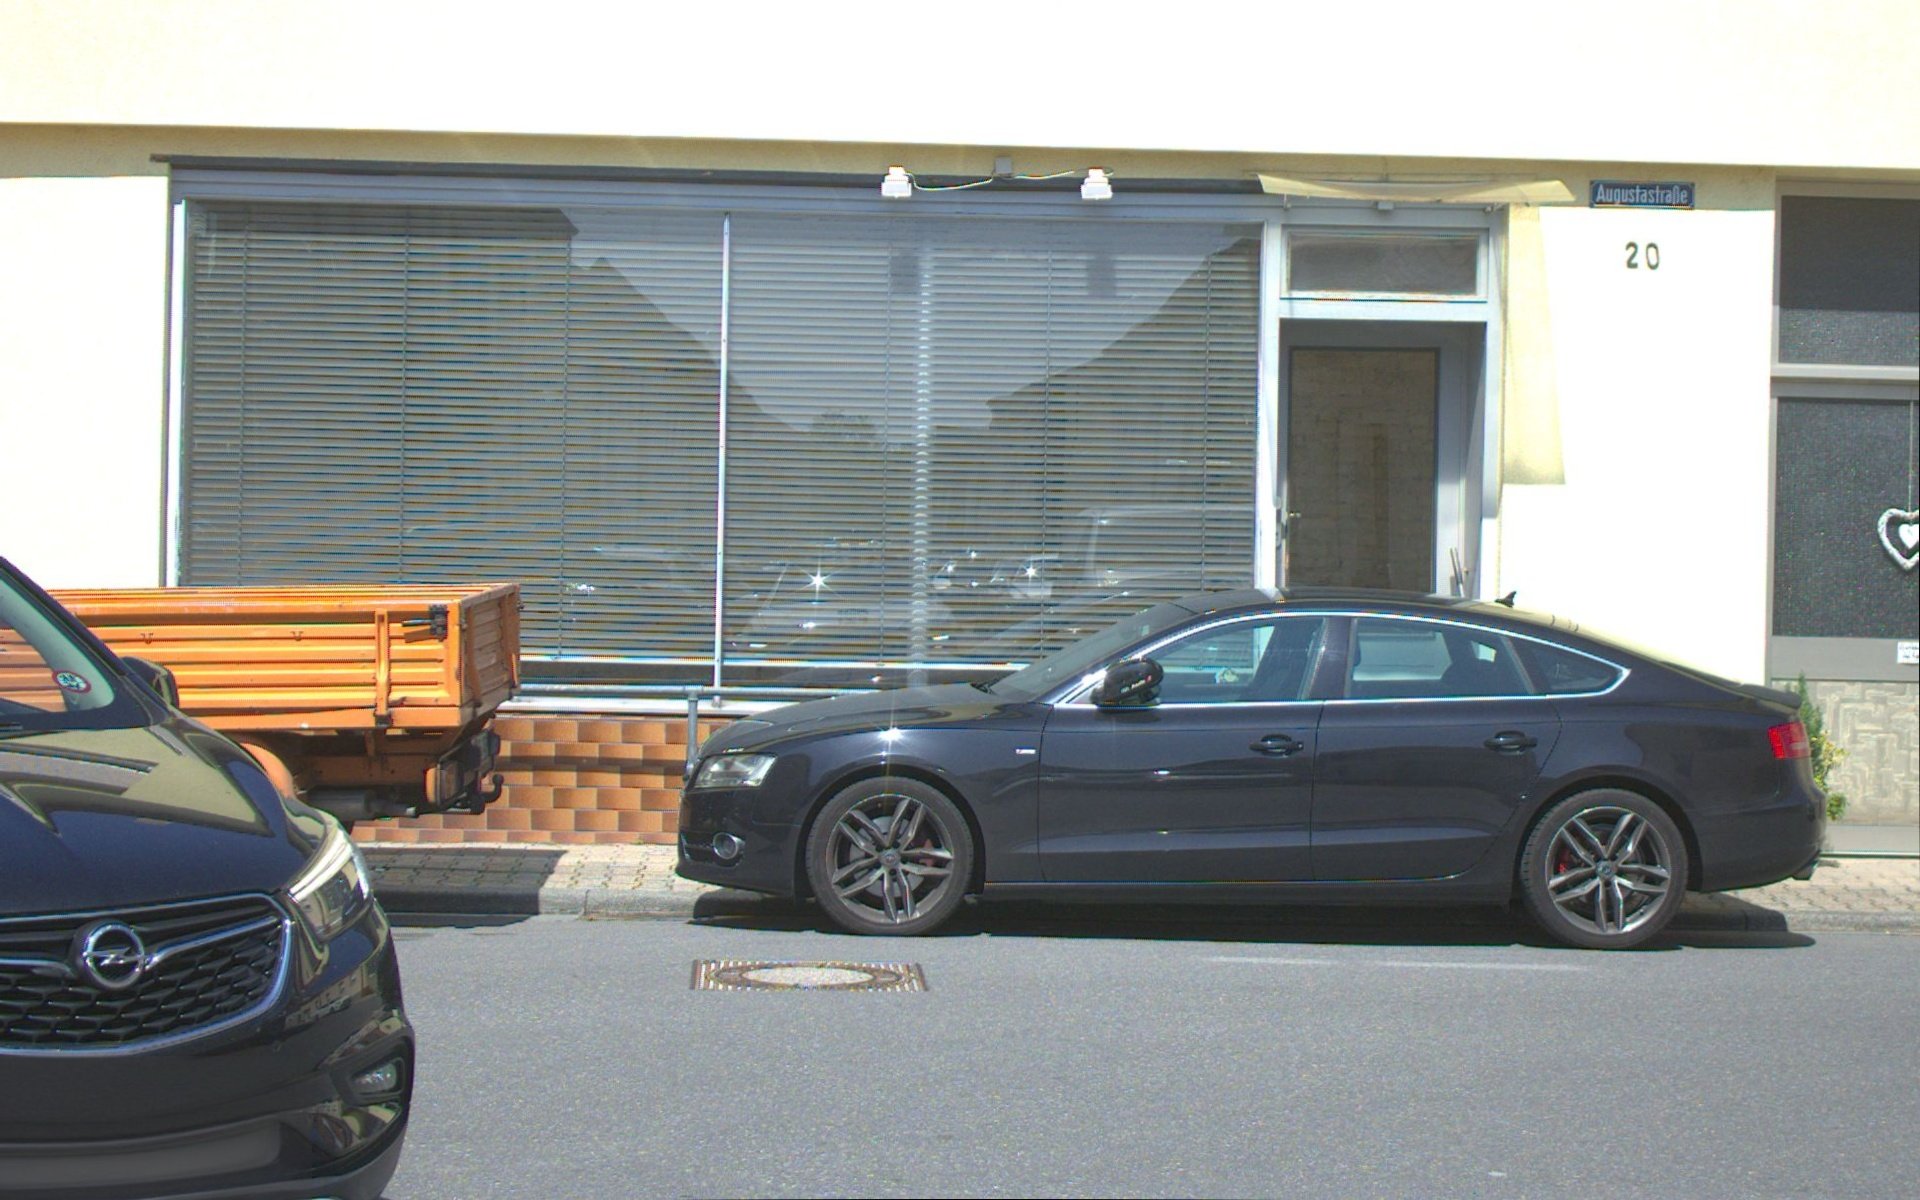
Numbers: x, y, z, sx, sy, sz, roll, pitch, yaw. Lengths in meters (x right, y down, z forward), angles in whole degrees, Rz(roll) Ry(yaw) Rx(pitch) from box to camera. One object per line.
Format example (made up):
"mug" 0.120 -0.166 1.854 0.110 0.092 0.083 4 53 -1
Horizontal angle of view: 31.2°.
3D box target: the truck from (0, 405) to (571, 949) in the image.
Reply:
"truck" -4.263 0.237 14.103 5.063 2.007 2.190 2 1 -1

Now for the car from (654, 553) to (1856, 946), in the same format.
"car" 1.114 0.611 14.191 4.616 1.389 1.928 2 -2 -2

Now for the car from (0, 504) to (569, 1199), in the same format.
"car" -2.783 0.583 7.317 1.757 1.577 4.279 -1 2 -41
